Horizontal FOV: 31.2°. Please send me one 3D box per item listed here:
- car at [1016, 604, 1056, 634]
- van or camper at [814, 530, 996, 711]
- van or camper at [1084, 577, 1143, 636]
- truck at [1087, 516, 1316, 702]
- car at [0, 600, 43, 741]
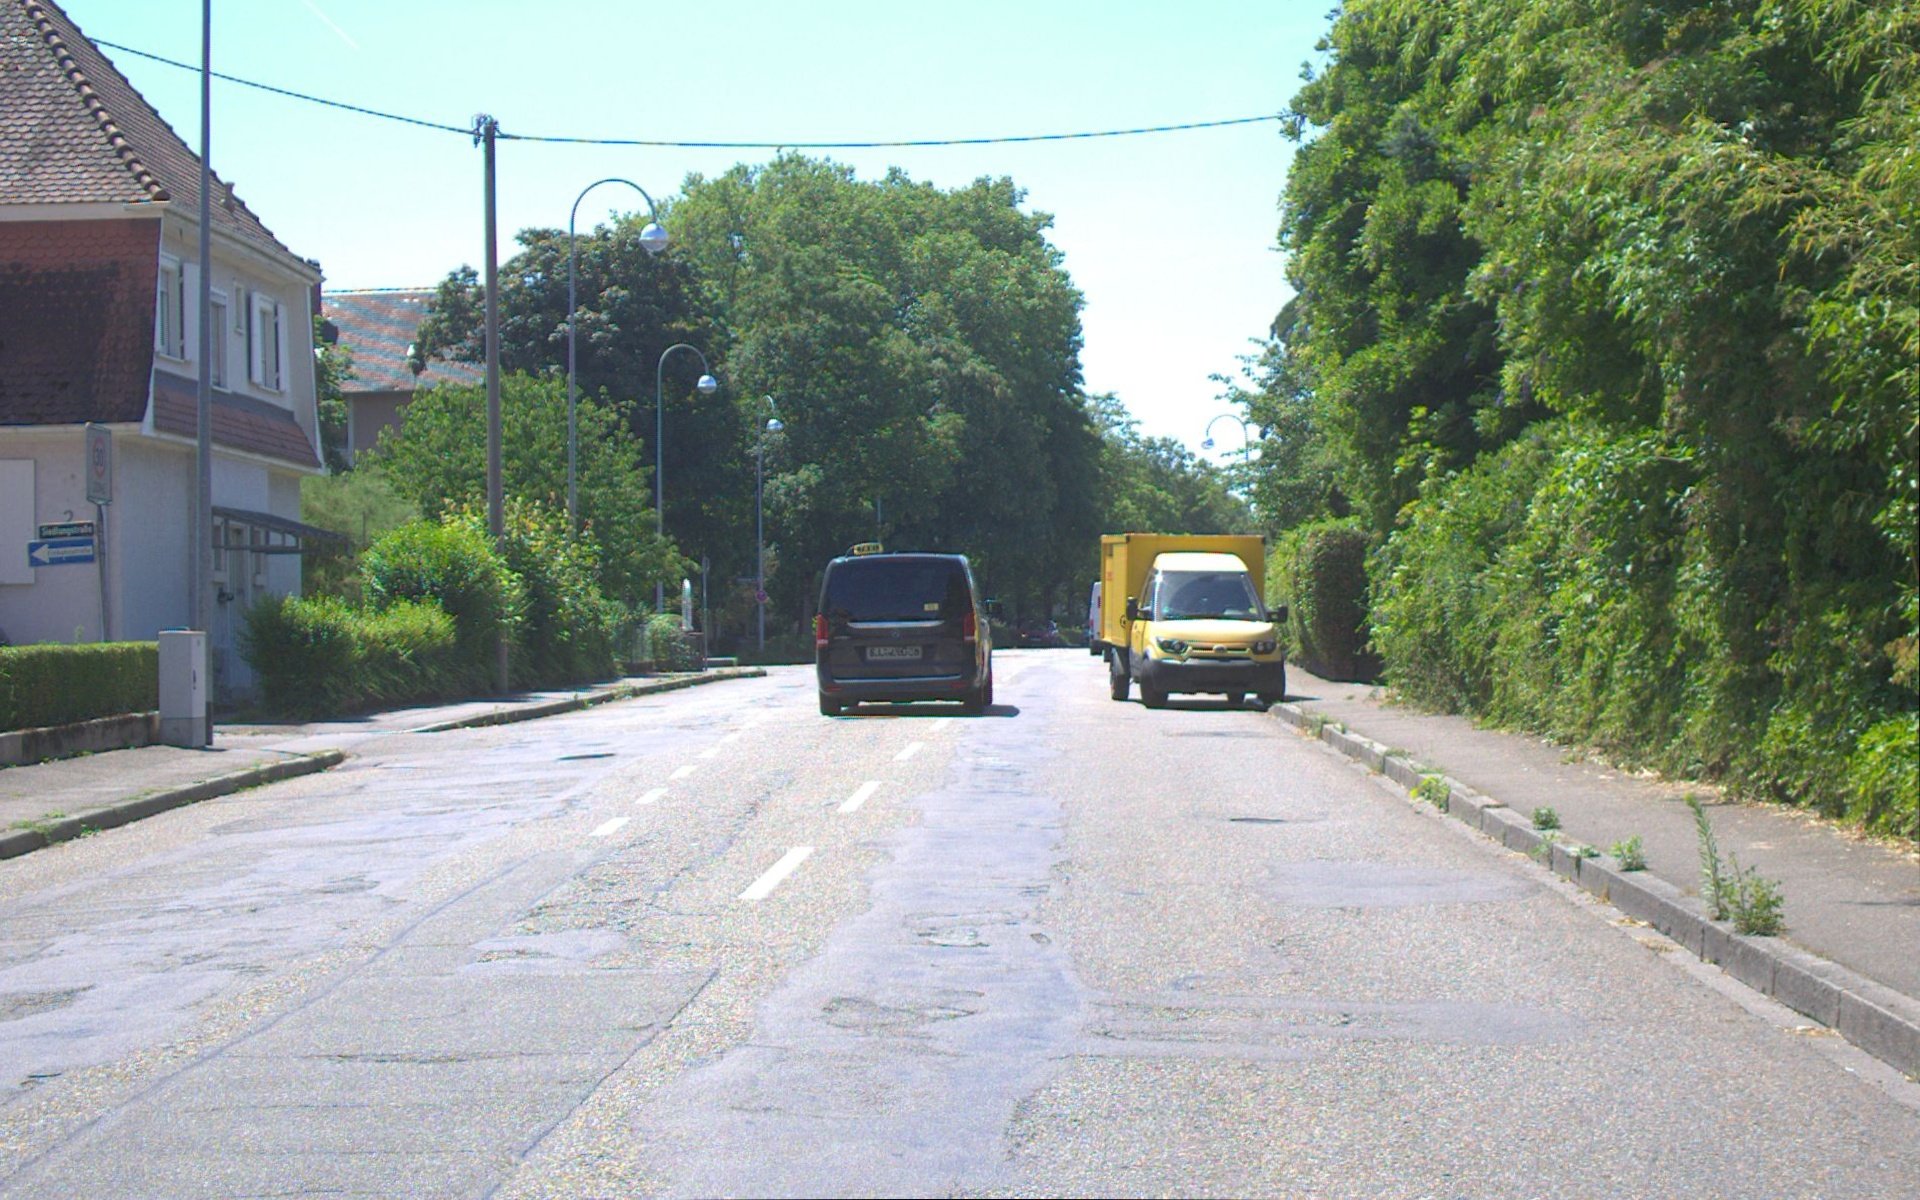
[{"bbox_3d":[3.861,0.962,174.511,1.549,1.444,3.004,-1,0,10],"label":"car"},{"bbox_3d":[-0.579,0.216,40.751,1.903,2.007,5.270,0,0,2],"label":"van or camper"},{"bbox_3d":[5.322,0.226,119.656,1.993,2.007,4.000,-1,0,2],"label":"van or camper"},{"bbox_3d":[3.087,0.111,45.409,2.355,2.251,6.092,-1,0,-2],"label":"truck"},{"bbox_3d":[-13.186,0.881,41.149,3.867,1.636,1.880,-2,0,1],"label":"car"}]
